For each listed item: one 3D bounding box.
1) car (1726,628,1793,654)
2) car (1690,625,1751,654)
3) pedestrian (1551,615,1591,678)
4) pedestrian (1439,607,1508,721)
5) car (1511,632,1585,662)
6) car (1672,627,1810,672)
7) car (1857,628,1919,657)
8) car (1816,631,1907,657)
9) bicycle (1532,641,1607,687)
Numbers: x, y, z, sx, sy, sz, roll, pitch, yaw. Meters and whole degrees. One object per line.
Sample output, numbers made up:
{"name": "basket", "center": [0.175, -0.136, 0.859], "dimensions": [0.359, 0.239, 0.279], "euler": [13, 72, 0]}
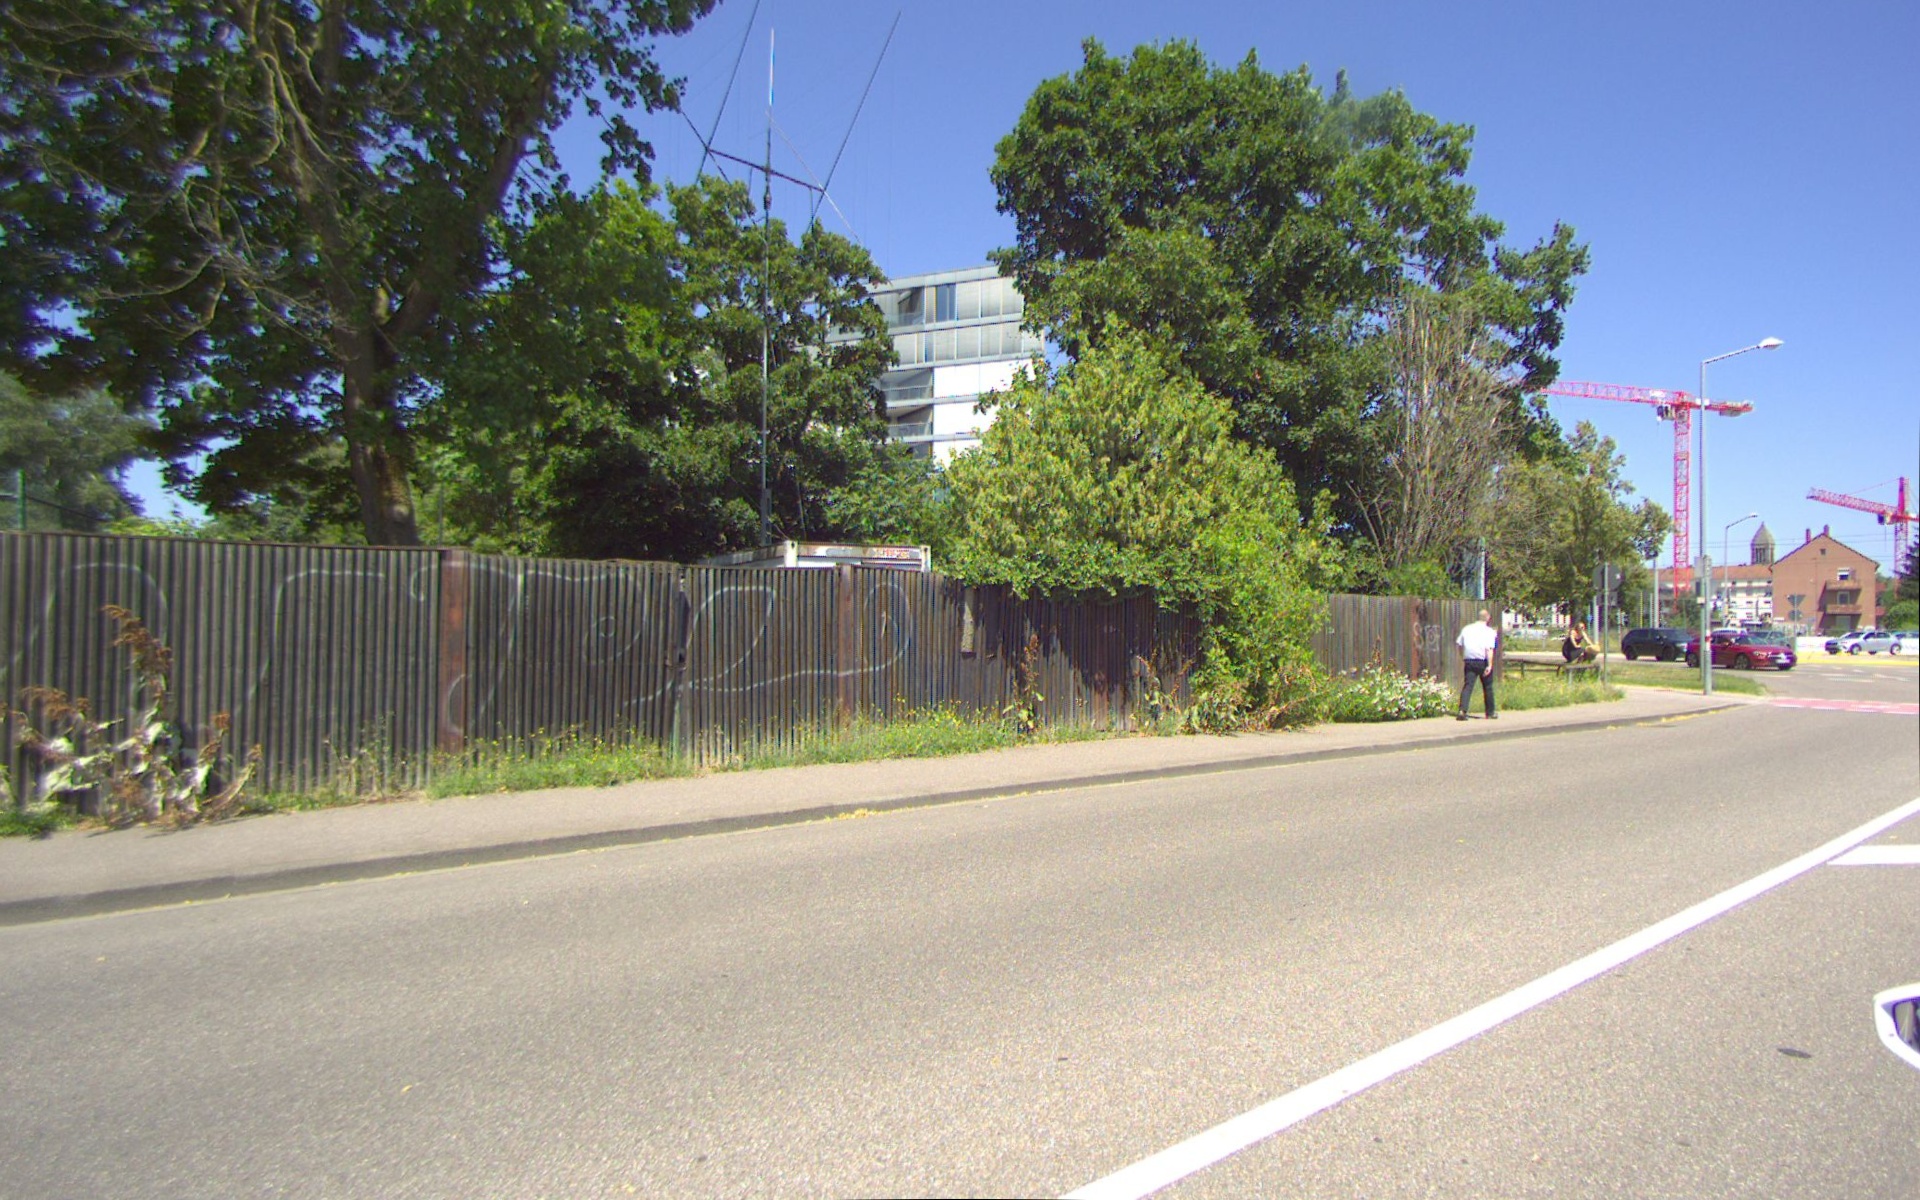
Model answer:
{"name": "car", "center": [47.057, 2.416, 59.099], "dimensions": [4.282, 1.390, 1.737], "euler": [2, 0, -31]}
{"name": "car", "center": [42.176, 2.151, 55.682], "dimensions": [3.837, 1.547, 1.763], "euler": [1, -2, -37]}
{"name": "pedestrian", "center": [17.106, 1.299, 28.129], "dimensions": [0.566, 1.714, 0.731], "euler": [2, 0, -20]}
{"name": "pedestrian", "center": [8.473, 1.039, 16.566], "dimensions": [0.960, 1.810, 0.631], "euler": [2, 0, -37]}
{"name": "car", "center": [36.991, 2.916, 63.315], "dimensions": [1.961, 1.617, 4.418], "euler": [2, 0, -2]}
{"name": "car", "center": [31.196, 1.923, 40.332], "dimensions": [1.961, 1.547, 4.418], "euler": [2, 0, -2]}
{"name": "car", "center": [63.735, 2.888, 68.118], "dimensions": [3.925, 1.795, 1.875], "euler": [2, 0, 26]}
{"name": "car", "center": [55.746, 2.694, 62.149], "dimensions": [4.188, 1.421, 1.732], "euler": [2, 0, -3]}
{"name": "bicycle", "center": [17.059, 1.780, 28.178], "dimensions": [0.604, 1.247, 1.841], "euler": [2, -3, -19]}
